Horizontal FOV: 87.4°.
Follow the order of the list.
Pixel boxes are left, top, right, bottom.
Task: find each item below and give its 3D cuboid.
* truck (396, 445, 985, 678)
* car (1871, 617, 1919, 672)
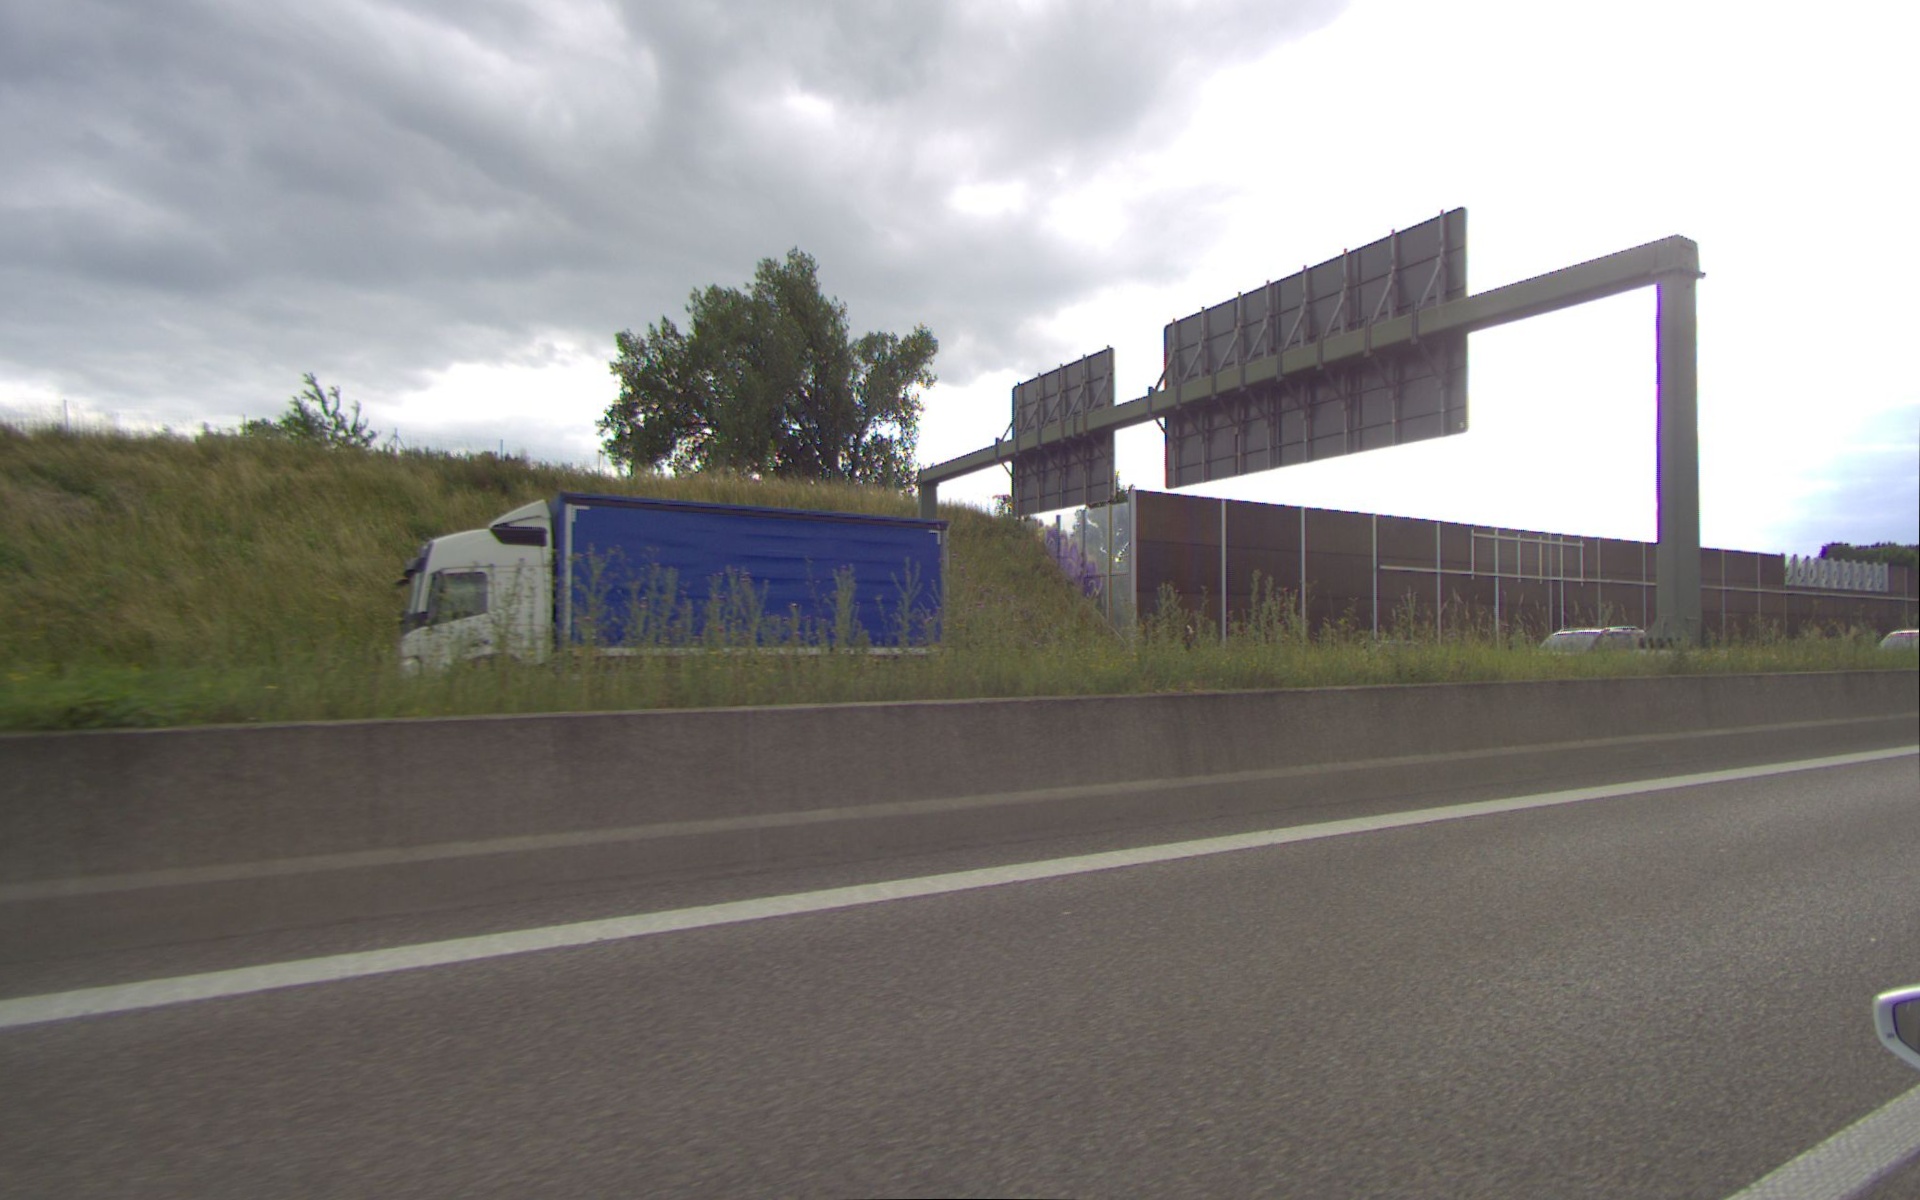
[{"bbox_3d":[-4.926,-0.462,19.881,10.808,3.650,3.244,1,-2,-31],"label":"truck"},{"bbox_3d":[31.889,1.462,33.112,3.664,1.718,1.704,2,0,-31],"label":"car"}]
